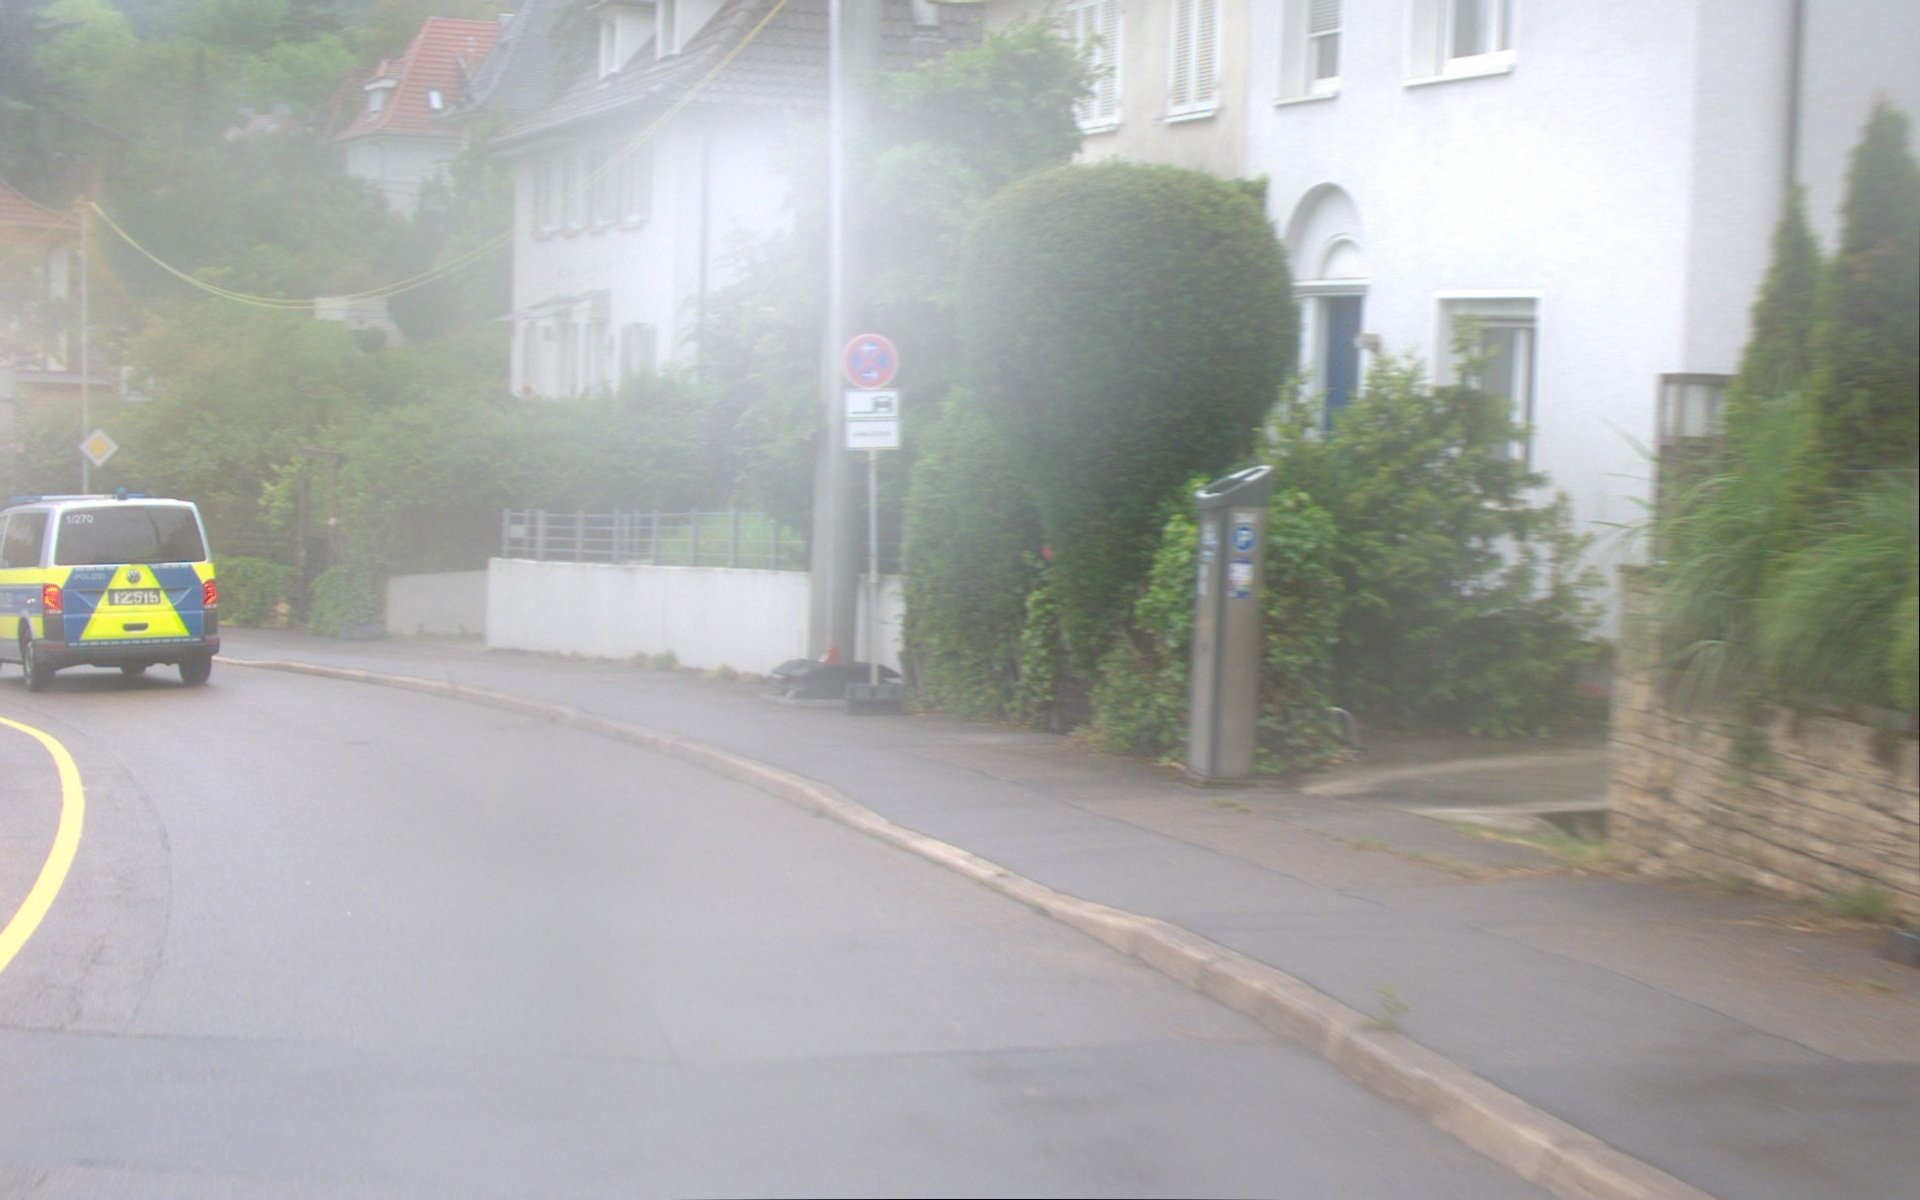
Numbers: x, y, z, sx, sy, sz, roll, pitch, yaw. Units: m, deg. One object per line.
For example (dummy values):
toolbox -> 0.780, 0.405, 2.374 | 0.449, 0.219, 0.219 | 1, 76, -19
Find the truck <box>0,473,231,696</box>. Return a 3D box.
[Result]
truck -> -9.303, -0.243, 36.536 | 1.993, 2.006, 4.736 | -1, 5, -25
